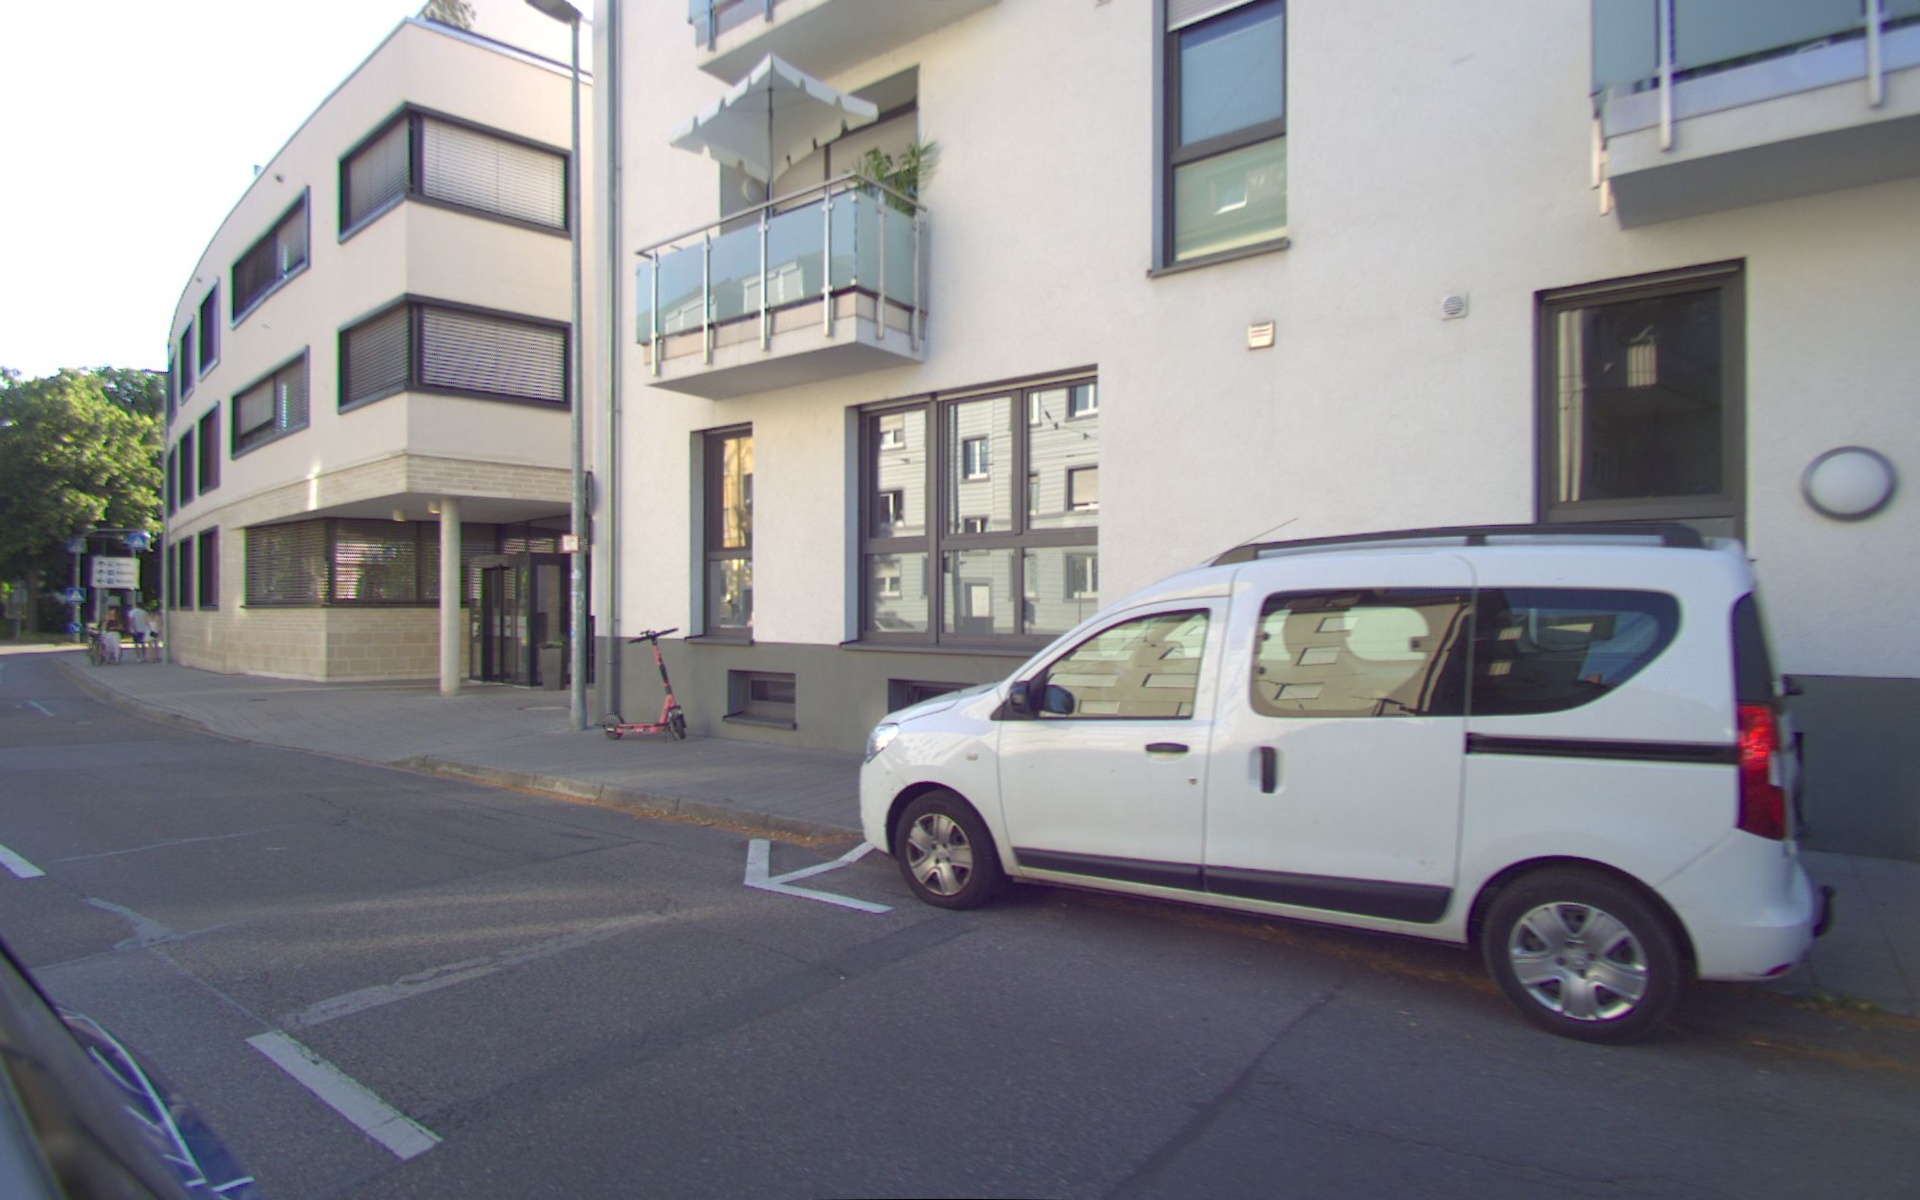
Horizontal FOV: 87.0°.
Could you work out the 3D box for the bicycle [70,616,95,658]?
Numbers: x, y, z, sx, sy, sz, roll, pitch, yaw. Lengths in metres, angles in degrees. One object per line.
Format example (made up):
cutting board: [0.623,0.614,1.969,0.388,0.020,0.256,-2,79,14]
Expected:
bicycle: [-26.037,1.090,30.056,0.434,1.187,1.971,-1,-1,-37]

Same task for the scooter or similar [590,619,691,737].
scooter or similar: [-3.475,0.839,10.987,1.147,1.229,0.223,-2,0,23]

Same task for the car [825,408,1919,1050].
car: [1.570,0.353,4.924,4.322,1.883,1.796,0,2,35]

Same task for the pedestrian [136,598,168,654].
pedestrian: [-25.463,0.817,31.893,0.843,1.727,0.694,0,0,44]

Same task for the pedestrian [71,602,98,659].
pedestrian: [-25.980,0.892,30.036,0.467,1.660,0.604,4,-3,-35]

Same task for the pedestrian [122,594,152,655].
pedestrian: [-25.731,0.747,31.648,0.993,1.863,0.598,0,0,44]
